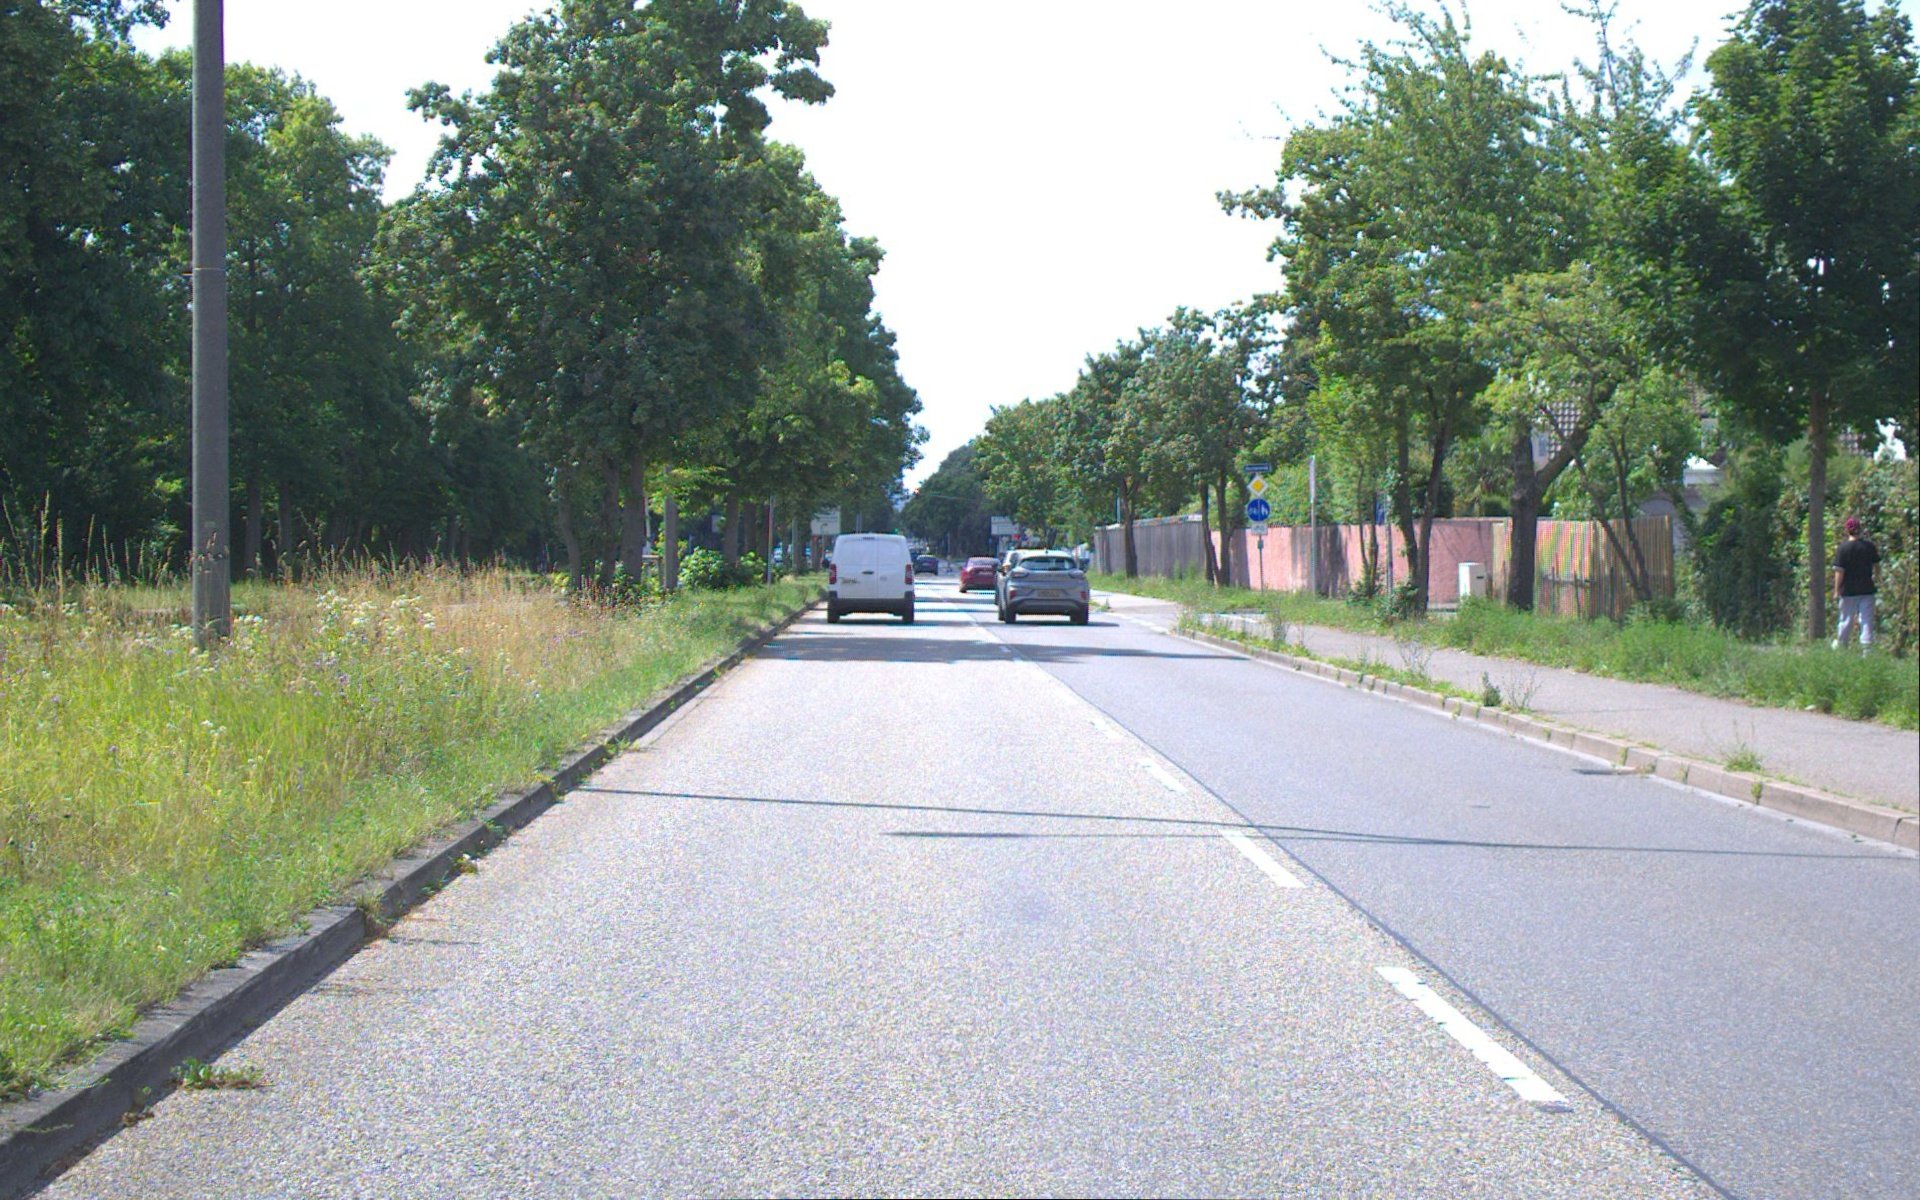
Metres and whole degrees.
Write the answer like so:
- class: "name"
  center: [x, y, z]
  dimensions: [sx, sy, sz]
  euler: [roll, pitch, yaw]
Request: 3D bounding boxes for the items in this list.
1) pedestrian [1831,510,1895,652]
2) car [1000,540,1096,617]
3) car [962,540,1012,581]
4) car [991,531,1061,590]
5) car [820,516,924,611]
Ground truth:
- class: "pedestrian"
  center: [10.742, -0.229, 40.905]
  dimensions: [0.560, 1.671, 0.634]
  euler: [0, 1, -1]
- class: "car"
  center: [1.839, -0.472, 72.960]
  dimensions: [1.875, 1.583, 4.185]
  euler: [0, 1, -1]
- class: "car"
  center: [1.042, -1.593, 136.087]
  dimensions: [1.880, 1.581, 4.000]
  euler: [0, 1, -1]
- class: "car"
  center: [1.861, -1.134, 98.597]
  dimensions: [1.875, 1.646, 4.000]
  euler: [0, 1, -1]
- class: "car"
  center: [-1.810, -0.779, 71.501]
  dimensions: [2.066, 1.905, 4.647]
  euler: [0, 1, -1]
